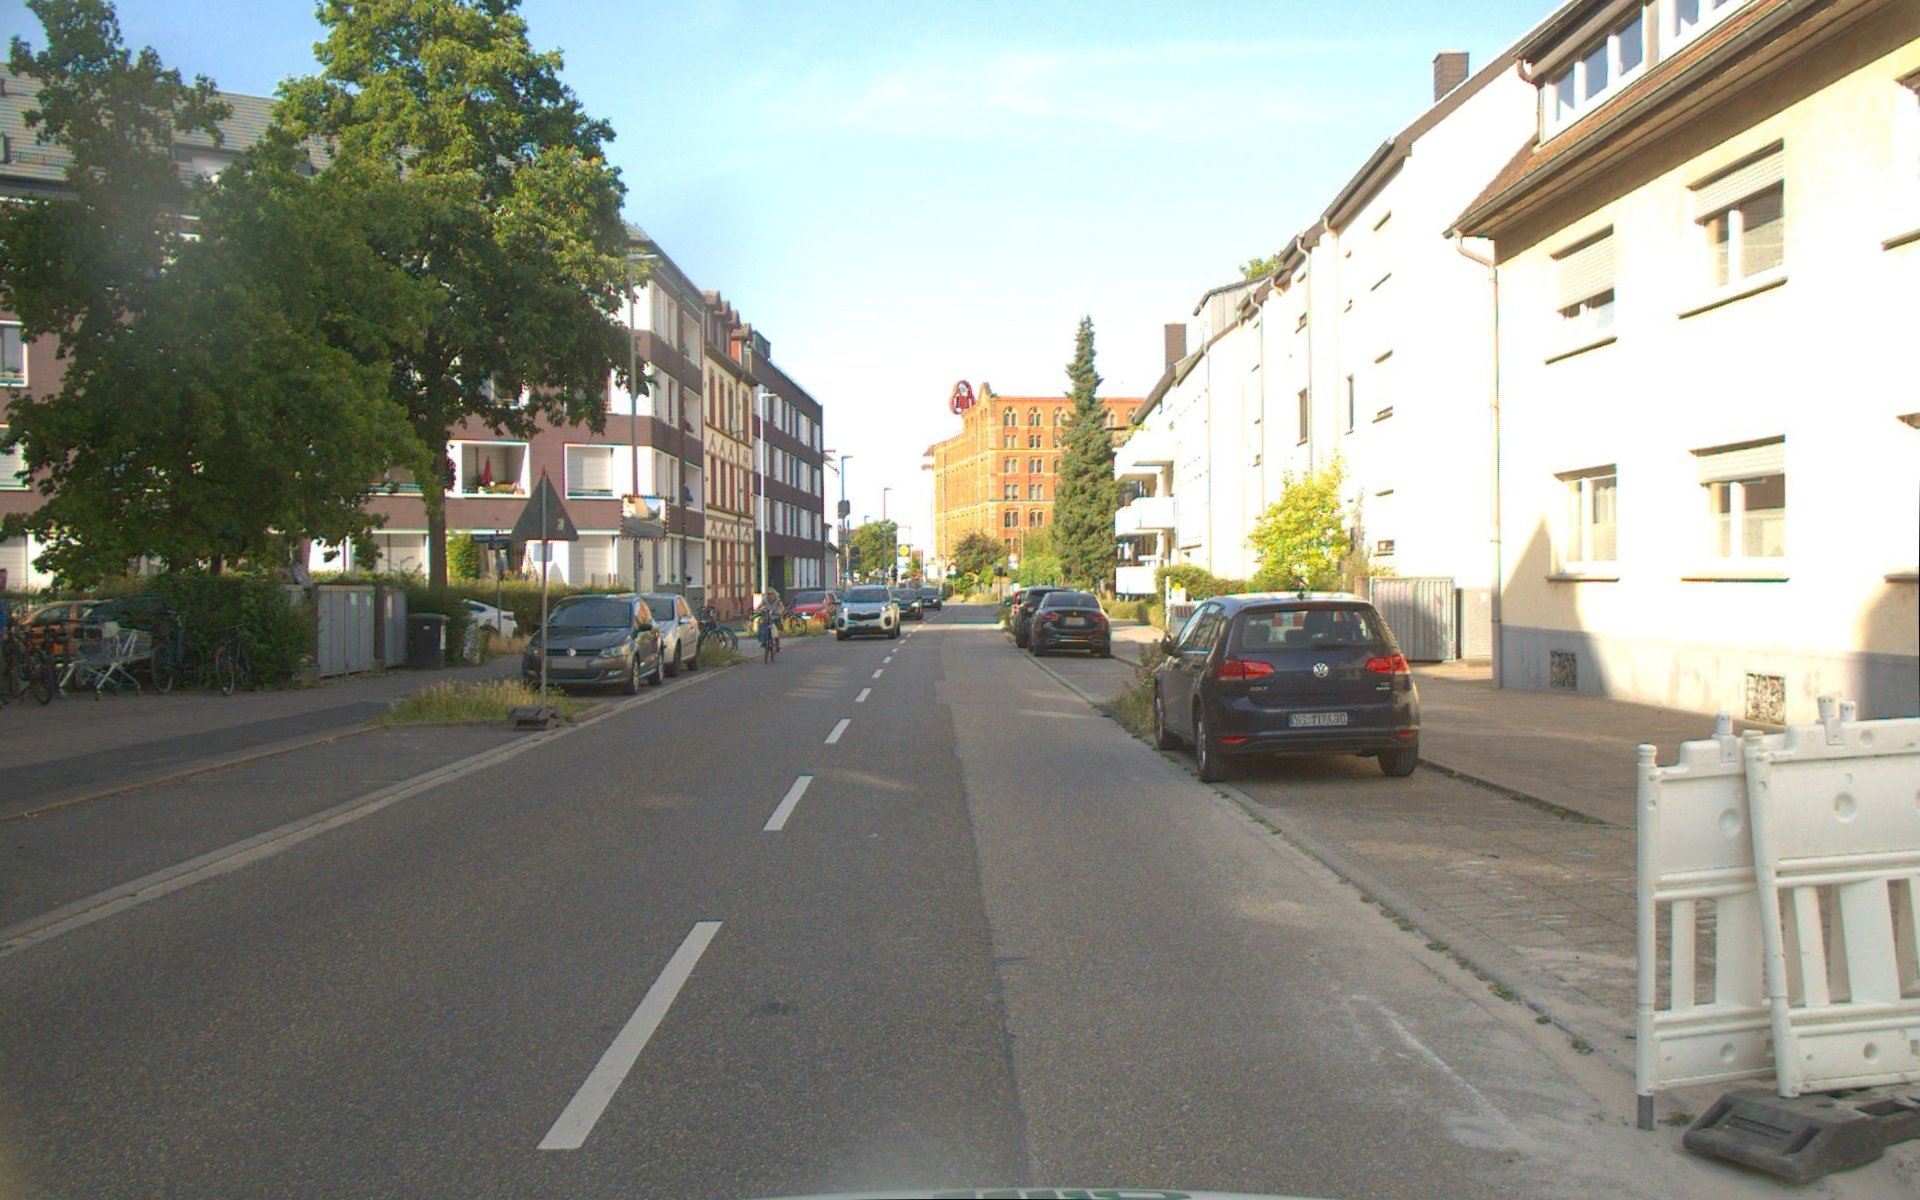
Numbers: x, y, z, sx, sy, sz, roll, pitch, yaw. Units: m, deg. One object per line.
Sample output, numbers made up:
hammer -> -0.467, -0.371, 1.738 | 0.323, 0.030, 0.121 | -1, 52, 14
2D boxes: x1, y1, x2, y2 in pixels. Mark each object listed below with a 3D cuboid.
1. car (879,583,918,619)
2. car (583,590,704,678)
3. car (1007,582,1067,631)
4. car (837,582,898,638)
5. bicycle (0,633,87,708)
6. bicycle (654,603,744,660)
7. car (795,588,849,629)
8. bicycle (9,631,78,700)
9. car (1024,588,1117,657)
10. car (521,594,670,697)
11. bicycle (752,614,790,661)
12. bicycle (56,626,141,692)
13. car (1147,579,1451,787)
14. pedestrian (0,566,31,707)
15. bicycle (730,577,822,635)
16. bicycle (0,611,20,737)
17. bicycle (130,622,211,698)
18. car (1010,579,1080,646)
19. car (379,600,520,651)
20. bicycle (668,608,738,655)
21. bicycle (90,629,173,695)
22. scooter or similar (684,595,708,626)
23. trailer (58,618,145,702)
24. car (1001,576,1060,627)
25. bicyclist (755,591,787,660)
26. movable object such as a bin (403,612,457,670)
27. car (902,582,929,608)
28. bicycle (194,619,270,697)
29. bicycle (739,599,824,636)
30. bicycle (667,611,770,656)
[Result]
car -> -2.875, 0.034, 78.173 | 1.728, 1.644, 3.999 | -2, 0, -1
car -> -5.856, 0.582, 30.988 | 1.642, 1.528, 3.998 | 0, 0, -2
car -> 2.569, 0.187, 56.146 | 1.728, 1.552, 3.999 | -2, 0, -1
car -> -2.854, 0.280, 51.810 | 1.728, 1.644, 3.999 | -2, 0, -1
bicycle -> -11.905, 0.897, 21.376 | 1.423, 0.866, 0.462 | 2, 1, 33
bicycle -> -5.865, 0.694, 37.232 | 1.962, 1.238, 0.707 | -1, 0, -7
car -> -5.293, 0.300, 63.680 | 1.802, 1.489, 3.584 | -1, 0, 0
bicycle -> -12.433, 0.876, 22.431 | 1.218, 0.897, 0.460 | 0, 0, 43
car -> 2.532, 0.489, 38.801 | 1.821, 1.497, 3.999 | -1, 0, -1
car -> -5.531, 0.648, 25.490 | 1.542, 1.445, 3.803 | 0, 0, -1
bicycle -> -4.092, 0.802, 35.919 | 0.596, 0.959, 1.811 | 0, 0, 0
bicycle -> -12.395, 0.837, 23.837 | 0.452, 0.866, 1.681 | -1, 0, -4
car -> 2.757, 0.605, 14.330 | 1.792, 1.508, 3.943 | -1, 0, 0
pedestrian -> -12.085, 0.452, 20.812 | 0.434, 1.753, 0.525 | 1, 0, 9
bicycle -> -5.994, 0.188, 54.065 | 2.858, 1.808, 1.202 | -1, 0, 0
bicycle -> -10.269, 0.757, 17.136 | 0.879, 1.271, 1.198 | -1, 0, -32
bicycle -> -11.302, 0.845, 23.714 | 0.452, 1.011, 1.681 | -1, 0, -4
car -> 2.224, 0.309, 43.989 | 1.569, 1.674, 3.684 | -1, 0, -1
car -> -14.064, 0.682, 45.631 | 3.415, 1.310, 1.646 | -1, 0, -33
bicycle -> -6.023, 0.730, 38.820 | 1.554, 1.059, 0.707 | -1, 0, -6
bicycle -> -11.896, 0.874, 23.777 | 0.452, 0.866, 1.681 | -1, 0, -4
scooter or similar -> -9.838, 0.380, 61.747 | 0.620, 1.123, 1.610 | 1, 0, 0
trailer -> -11.513, 0.795, 22.203 | 0.571, 1.075, 0.910 | -1, 0, 15
car -> 2.543, 0.039, 60.416 | 1.953, 1.803, 4.000 | 0, 0, 0
bicyclist -> -4.102, 0.547, 35.988 | 0.578, 1.467, 0.751 | -1, 0, 1
movable object such as a bin -> -10.129, 0.778, 31.643 | 0.737, 1.058, 0.816 | 2, 0, 0
car -> -2.885, -0.354, 108.136 | 1.728, 1.644, 3.999 | -2, 0, -1
bicycle -> -10.459, 0.814, 23.799 | 0.452, 1.041, 1.681 | -1, 0, -4
bicycle -> -6.007, 0.579, 55.837 | 2.716, 1.164, 1.143 | -1, 0, 0
bicycle -> -5.550, 0.770, 38.114 | 2.295, 0.987, 0.707 | -1, 0, -6
